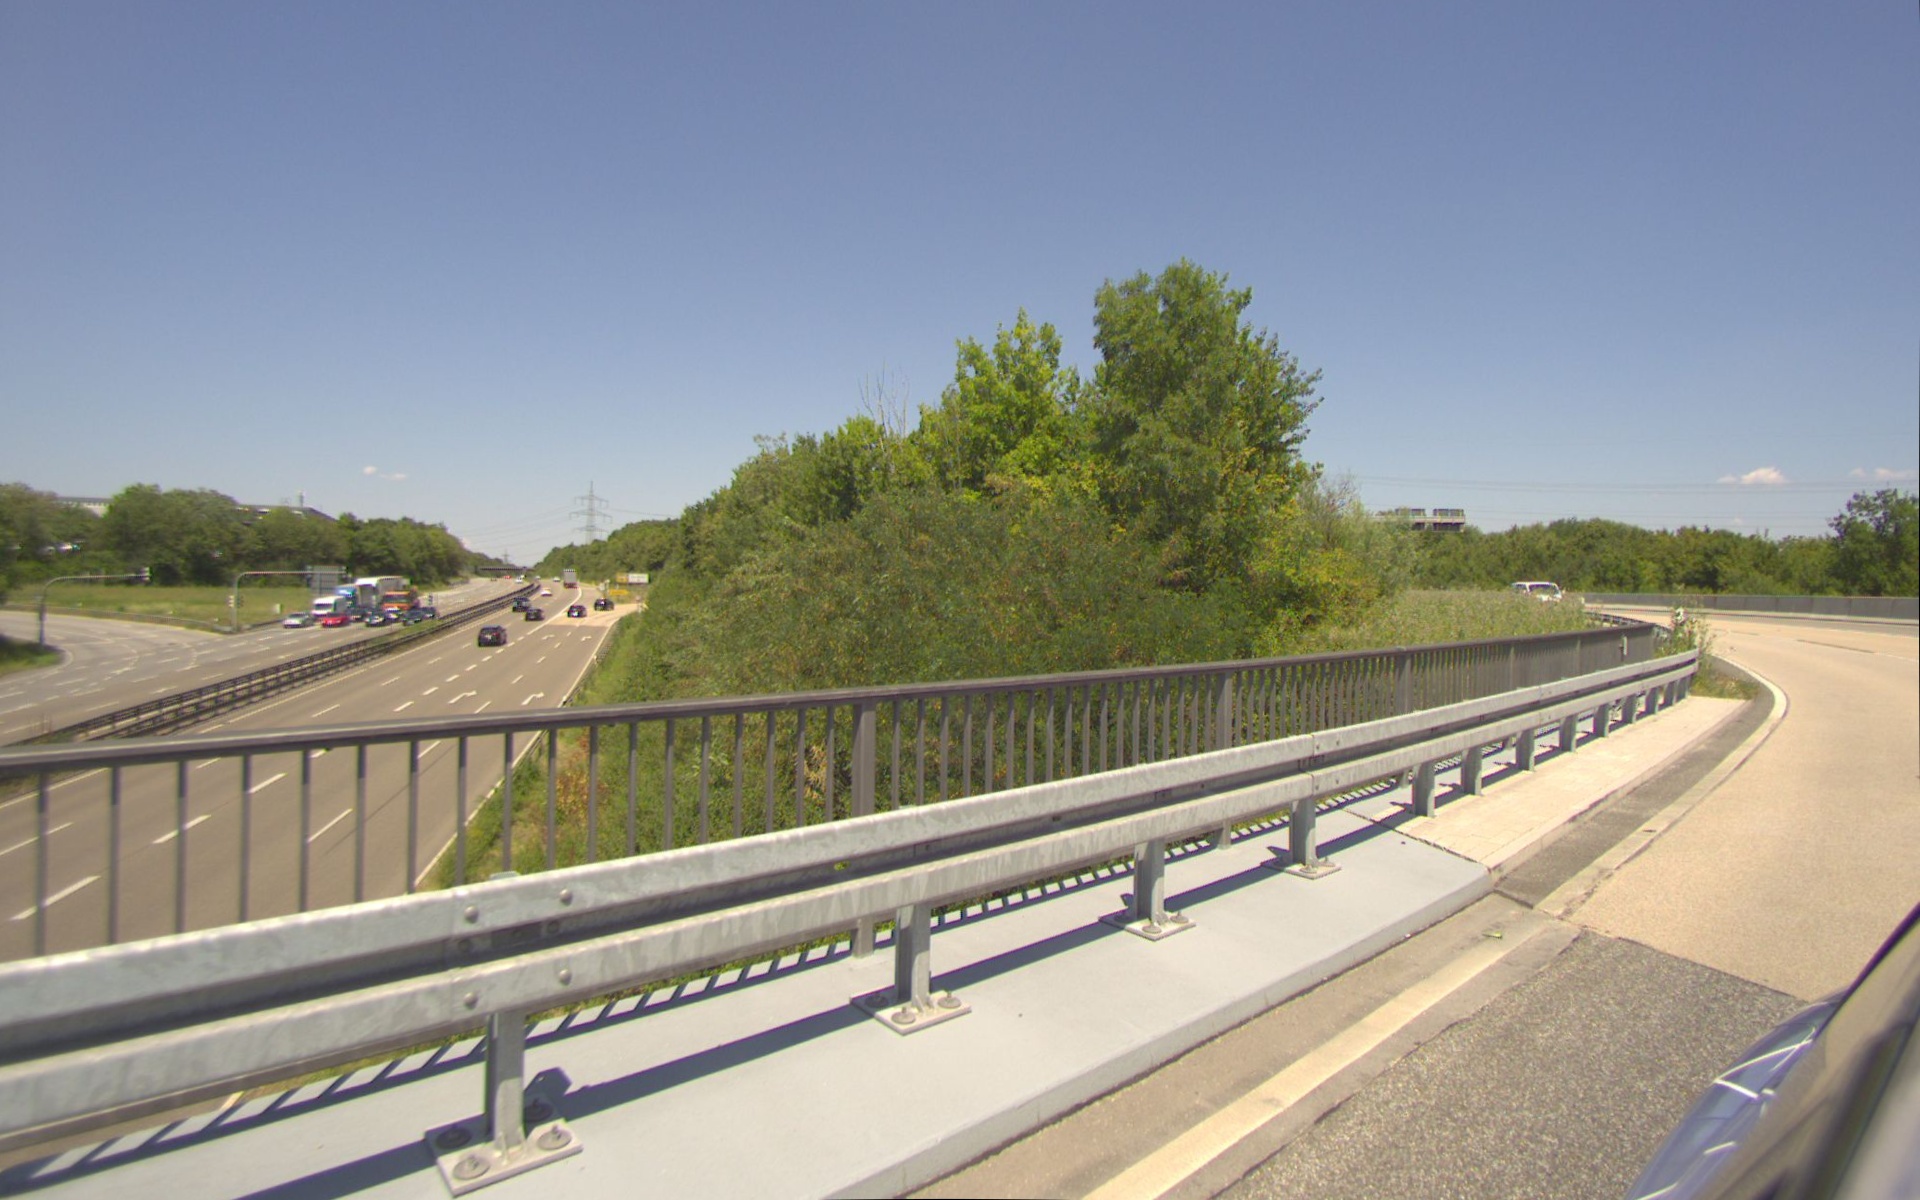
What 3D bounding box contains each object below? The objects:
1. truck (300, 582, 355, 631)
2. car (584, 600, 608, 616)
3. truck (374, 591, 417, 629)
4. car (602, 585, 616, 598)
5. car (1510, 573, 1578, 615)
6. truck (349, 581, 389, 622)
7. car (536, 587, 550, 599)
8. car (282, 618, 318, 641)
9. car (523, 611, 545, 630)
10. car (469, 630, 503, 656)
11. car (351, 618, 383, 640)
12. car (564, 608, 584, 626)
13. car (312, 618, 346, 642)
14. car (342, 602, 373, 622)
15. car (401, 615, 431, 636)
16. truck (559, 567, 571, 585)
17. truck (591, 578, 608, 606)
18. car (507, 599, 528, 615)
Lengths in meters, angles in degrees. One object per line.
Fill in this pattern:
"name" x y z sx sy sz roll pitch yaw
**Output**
"truck" -70.528 0.580 113.129 2.523 5.072 12.433 0 1 -19
"car" -49.499 1.082 137.810 1.961 2.039 4.003 0 1 -3
"truck" -64.376 1.041 115.647 2.656 4.060 8.902 0 1 -19
"car" -59.939 -1.488 172.887 1.958 2.039 4.009 0 1 -17
"car" 34.446 -0.396 59.921 2.003 2.109 5.849 0 4 15
"truck" -77.118 0.095 132.189 2.372 5.031 11.104 0 1 -19
"car" -75.247 -1.235 182.692 1.958 2.039 4.009 0 1 -17
"car" -66.400 2.922 101.903 1.958 2.039 4.009 0 1 -17
"car" -48.744 2.331 115.870 1.958 2.039 4.009 0 1 -17
"car" -39.809 3.559 85.086 1.958 1.880 4.009 0 1 -17
"car" -60.200 2.894 102.759 1.958 2.039 4.009 0 1 -17
"car" -47.129 2.055 123.612 1.958 2.039 4.009 0 1 -17
"car" -63.678 3.030 102.238 1.942 2.237 4.009 0 1 -17
"car" -64.998 1.277 109.186 1.958 2.039 4.009 0 1 -17
"car" -56.093 2.604 104.466 1.958 2.039 4.009 0 1 -17
"truck" -89.915 -5.378 230.313 2.190 3.991 6.245 0 1 -23
"truck" -53.778 -1.249 151.111 1.958 4.000 9.103 0 1 -17
"car" -57.903 0.925 132.500 1.958 2.039 4.009 0 1 -17
